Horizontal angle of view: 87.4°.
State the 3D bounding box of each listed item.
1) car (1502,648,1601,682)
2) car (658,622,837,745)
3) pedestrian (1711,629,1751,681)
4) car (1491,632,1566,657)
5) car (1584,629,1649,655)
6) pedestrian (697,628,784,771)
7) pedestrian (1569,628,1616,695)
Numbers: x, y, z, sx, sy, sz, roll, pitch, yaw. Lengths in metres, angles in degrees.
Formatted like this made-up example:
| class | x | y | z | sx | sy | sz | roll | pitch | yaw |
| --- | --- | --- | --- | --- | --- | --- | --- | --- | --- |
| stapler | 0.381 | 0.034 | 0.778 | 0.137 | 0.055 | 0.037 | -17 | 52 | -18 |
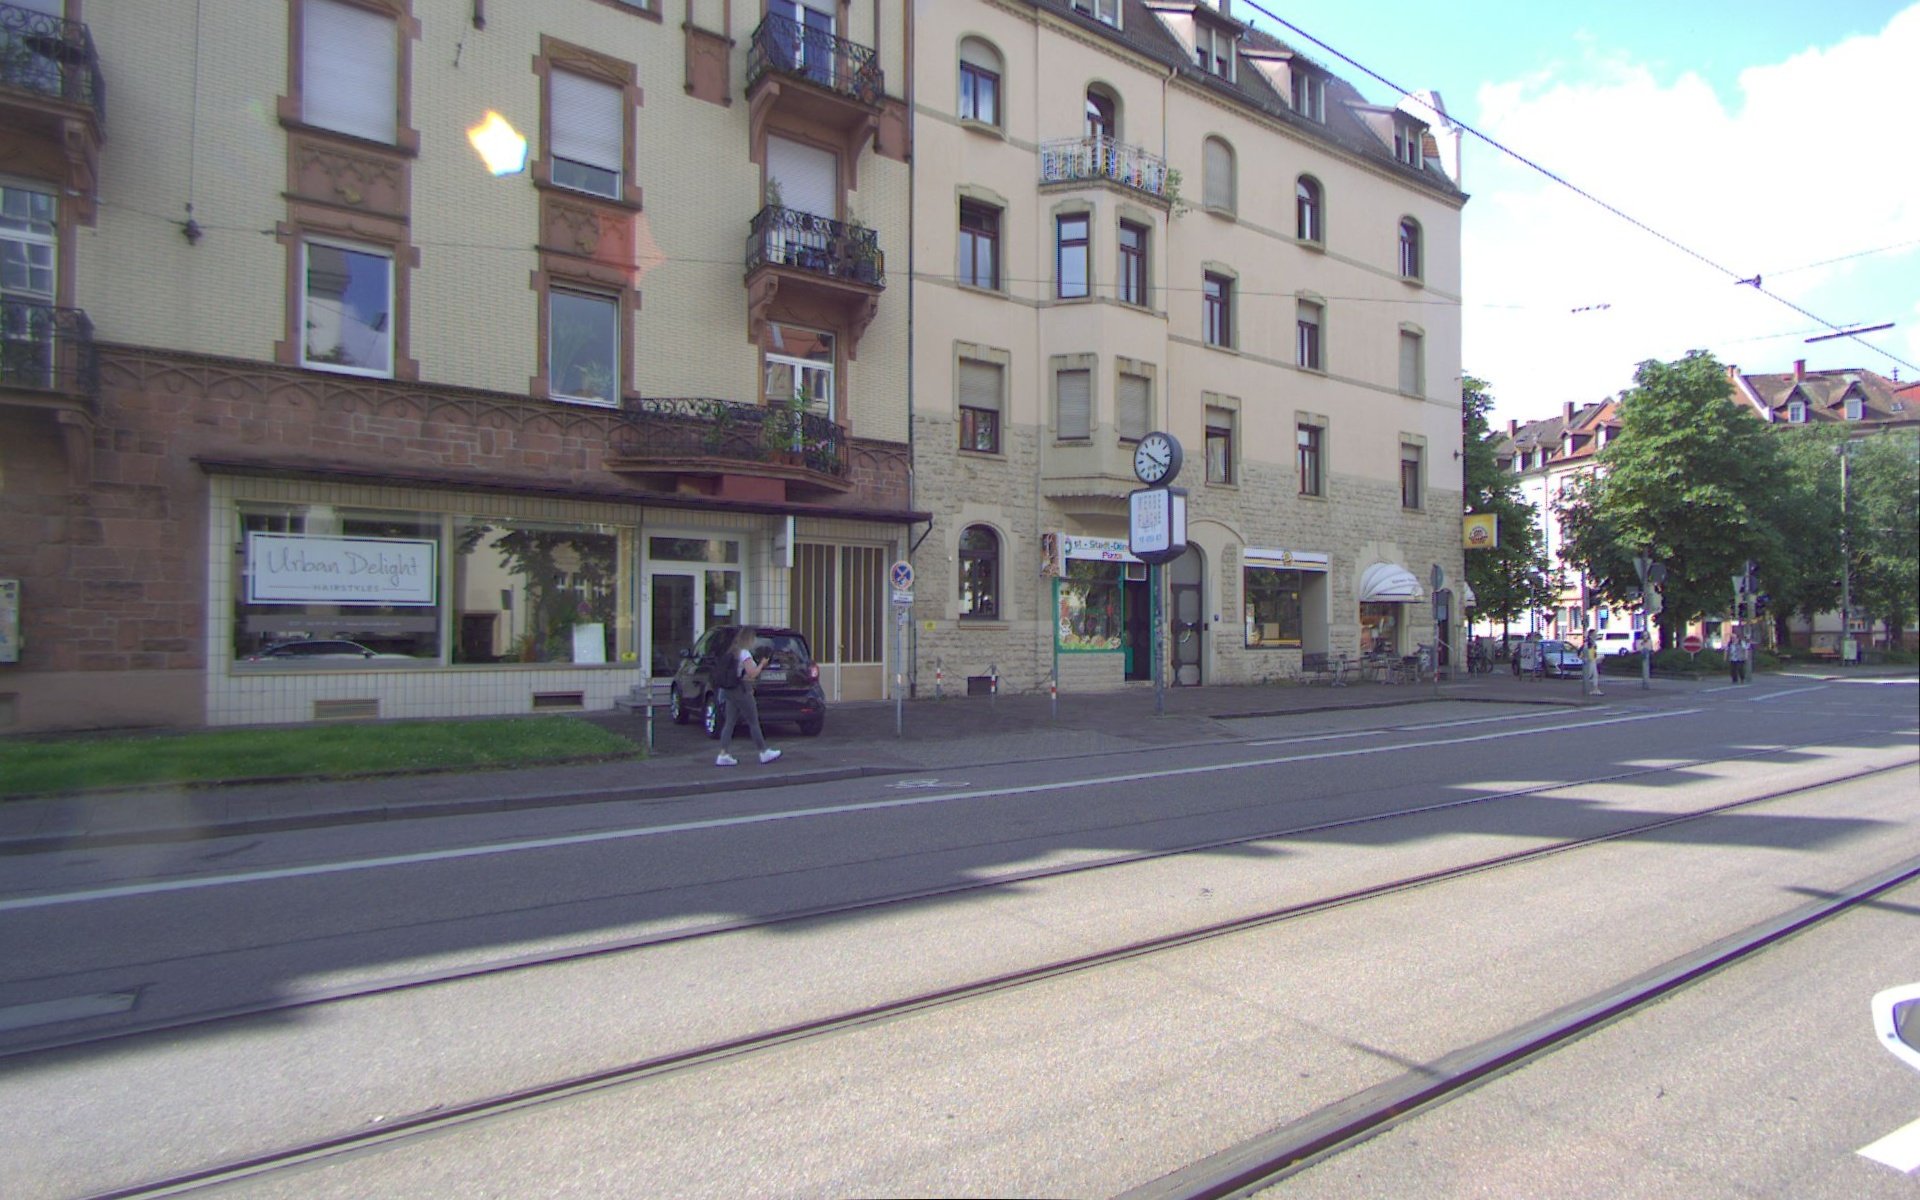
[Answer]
| class | x | y | z | sx | sy | sz | roll | pitch | yaw |
| --- | --- | --- | --- | --- | --- | --- | --- | --- | --- |
| car | 22.776 | 2.481 | 38.852 | 1.645 | 1.198 | 4.002 | 0 | -2 | 4 |
| car | -3.286 | 1.151 | 15.124 | 1.716 | 1.505 | 3.162 | 1 | 1 | -30 |
| pedestrian | 26.353 | 1.866 | 34.333 | 0.709 | 1.728 | 0.819 | 1 | -2 | -25 |
| car | 38.346 | 2.976 | 67.836 | 1.976 | 1.617 | 3.970 | 1 | -2 | -29 |
| car | 48.743 | 3.103 | 74.669 | 1.962 | 1.929 | 3.997 | 0 | -2 | -6 |
| pedestrian | -2.580 | 1.137 | 11.797 | 0.757 | 1.562 | 0.752 | 1 | 2 | -33 |
| pedestrian | 17.035 | 1.641 | 27.068 | 0.786 | 1.777 | 0.684 | 0 | -2 | -8 |
